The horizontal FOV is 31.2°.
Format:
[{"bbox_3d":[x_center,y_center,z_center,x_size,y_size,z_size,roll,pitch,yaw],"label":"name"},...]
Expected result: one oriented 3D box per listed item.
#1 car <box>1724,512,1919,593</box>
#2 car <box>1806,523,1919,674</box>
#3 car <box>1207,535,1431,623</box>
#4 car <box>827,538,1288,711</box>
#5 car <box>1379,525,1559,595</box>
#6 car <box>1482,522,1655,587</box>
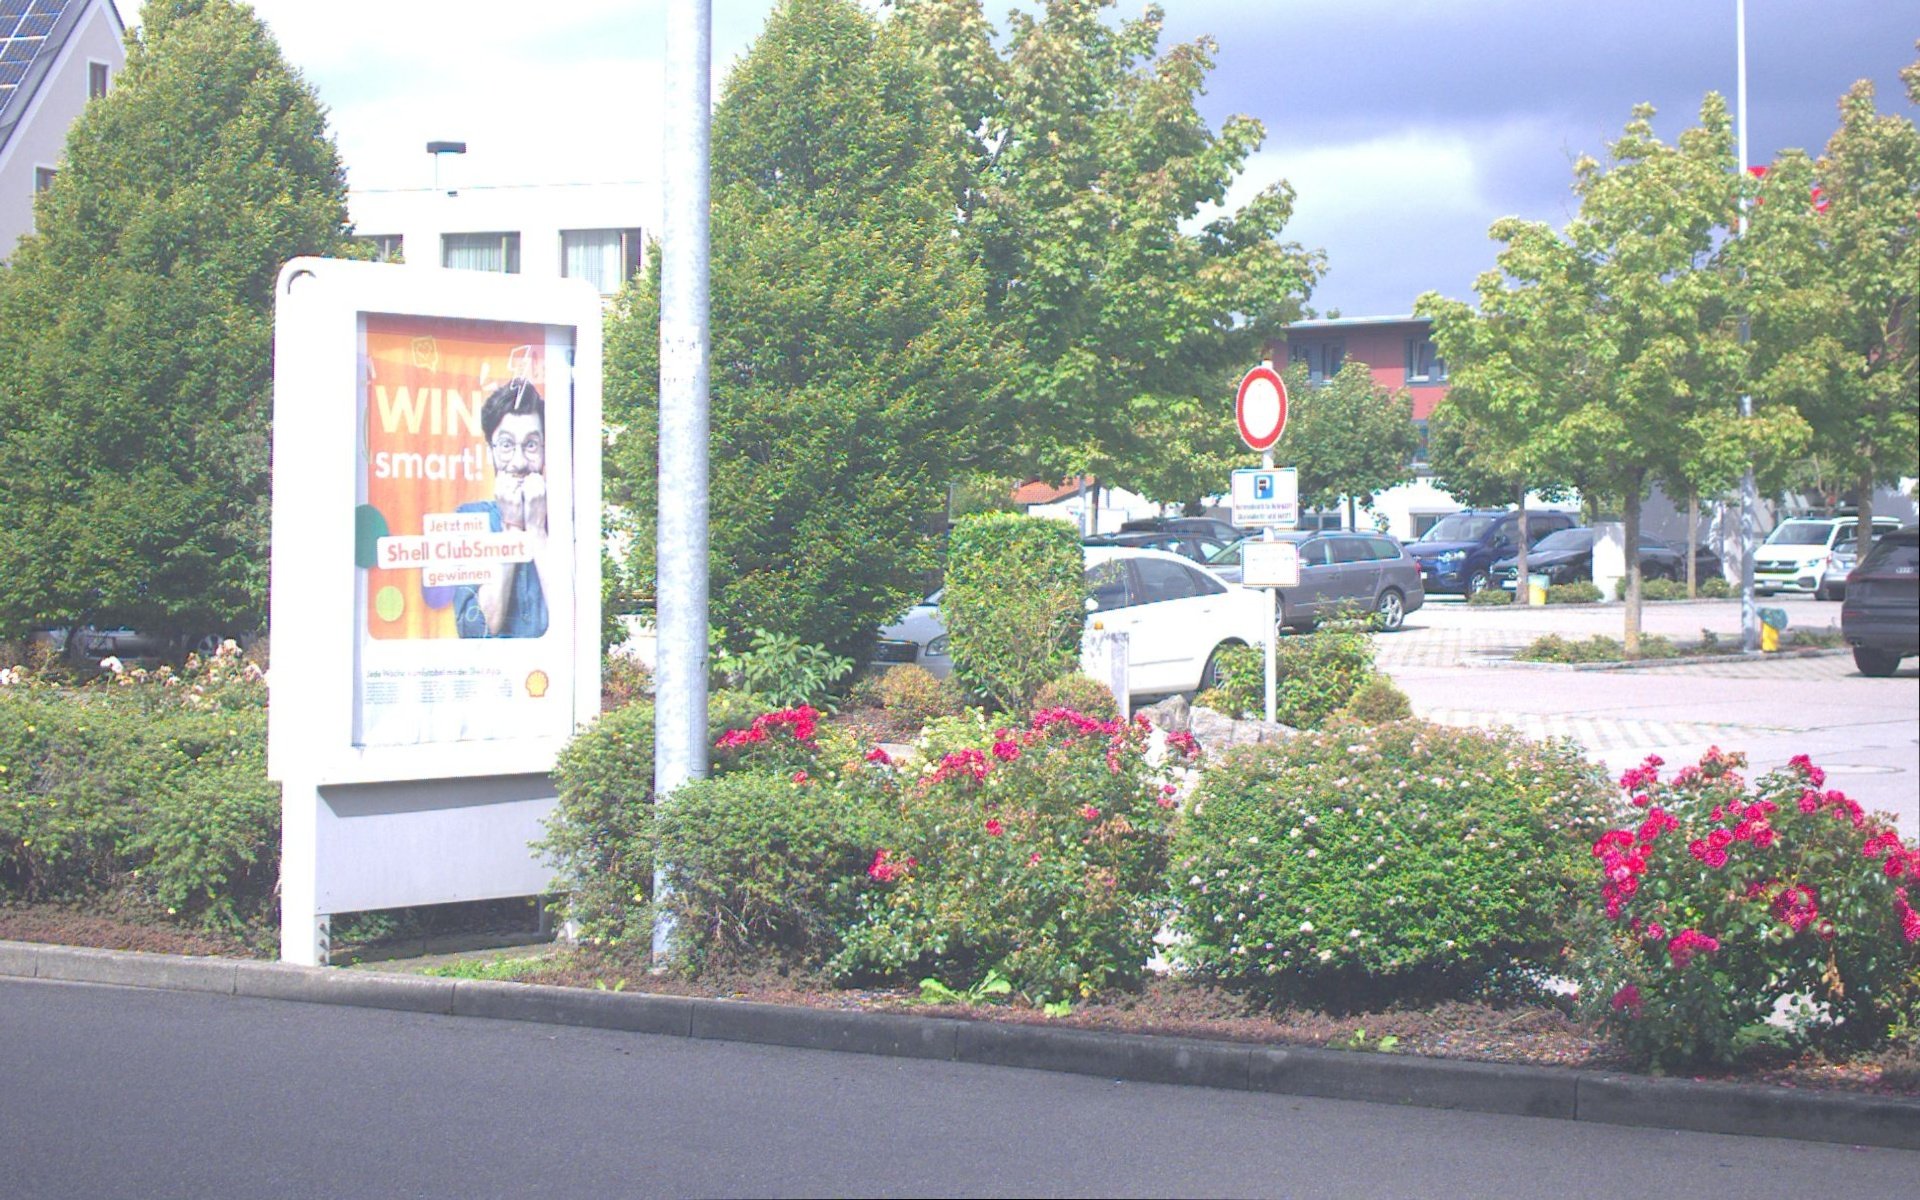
[{"bbox_3d":[20.263,-1.096,80.681,4.864,1.827,2.184,0,1,-43],"label":"car"},{"bbox_3d":[11.146,-0.014,36.770,4.491,1.543,1.885,0,1,-43],"label":"car"},{"bbox_3d":[5.216,-0.297,49.756,3.218,1.224,1.505,0,1,-44],"label":"car"},{"bbox_3d":[0.917,0.198,29.967,4.332,1.399,1.370,0,1,-44],"label":"car"},{"bbox_3d":[9.901,-0.766,66.823,3.379,1.316,1.747,0,1,-44],"label":"car"},{"bbox_3d":[11.530,-0.848,65.075,3.409,1.174,1.485,0,1,-44],"label":"car"}]
